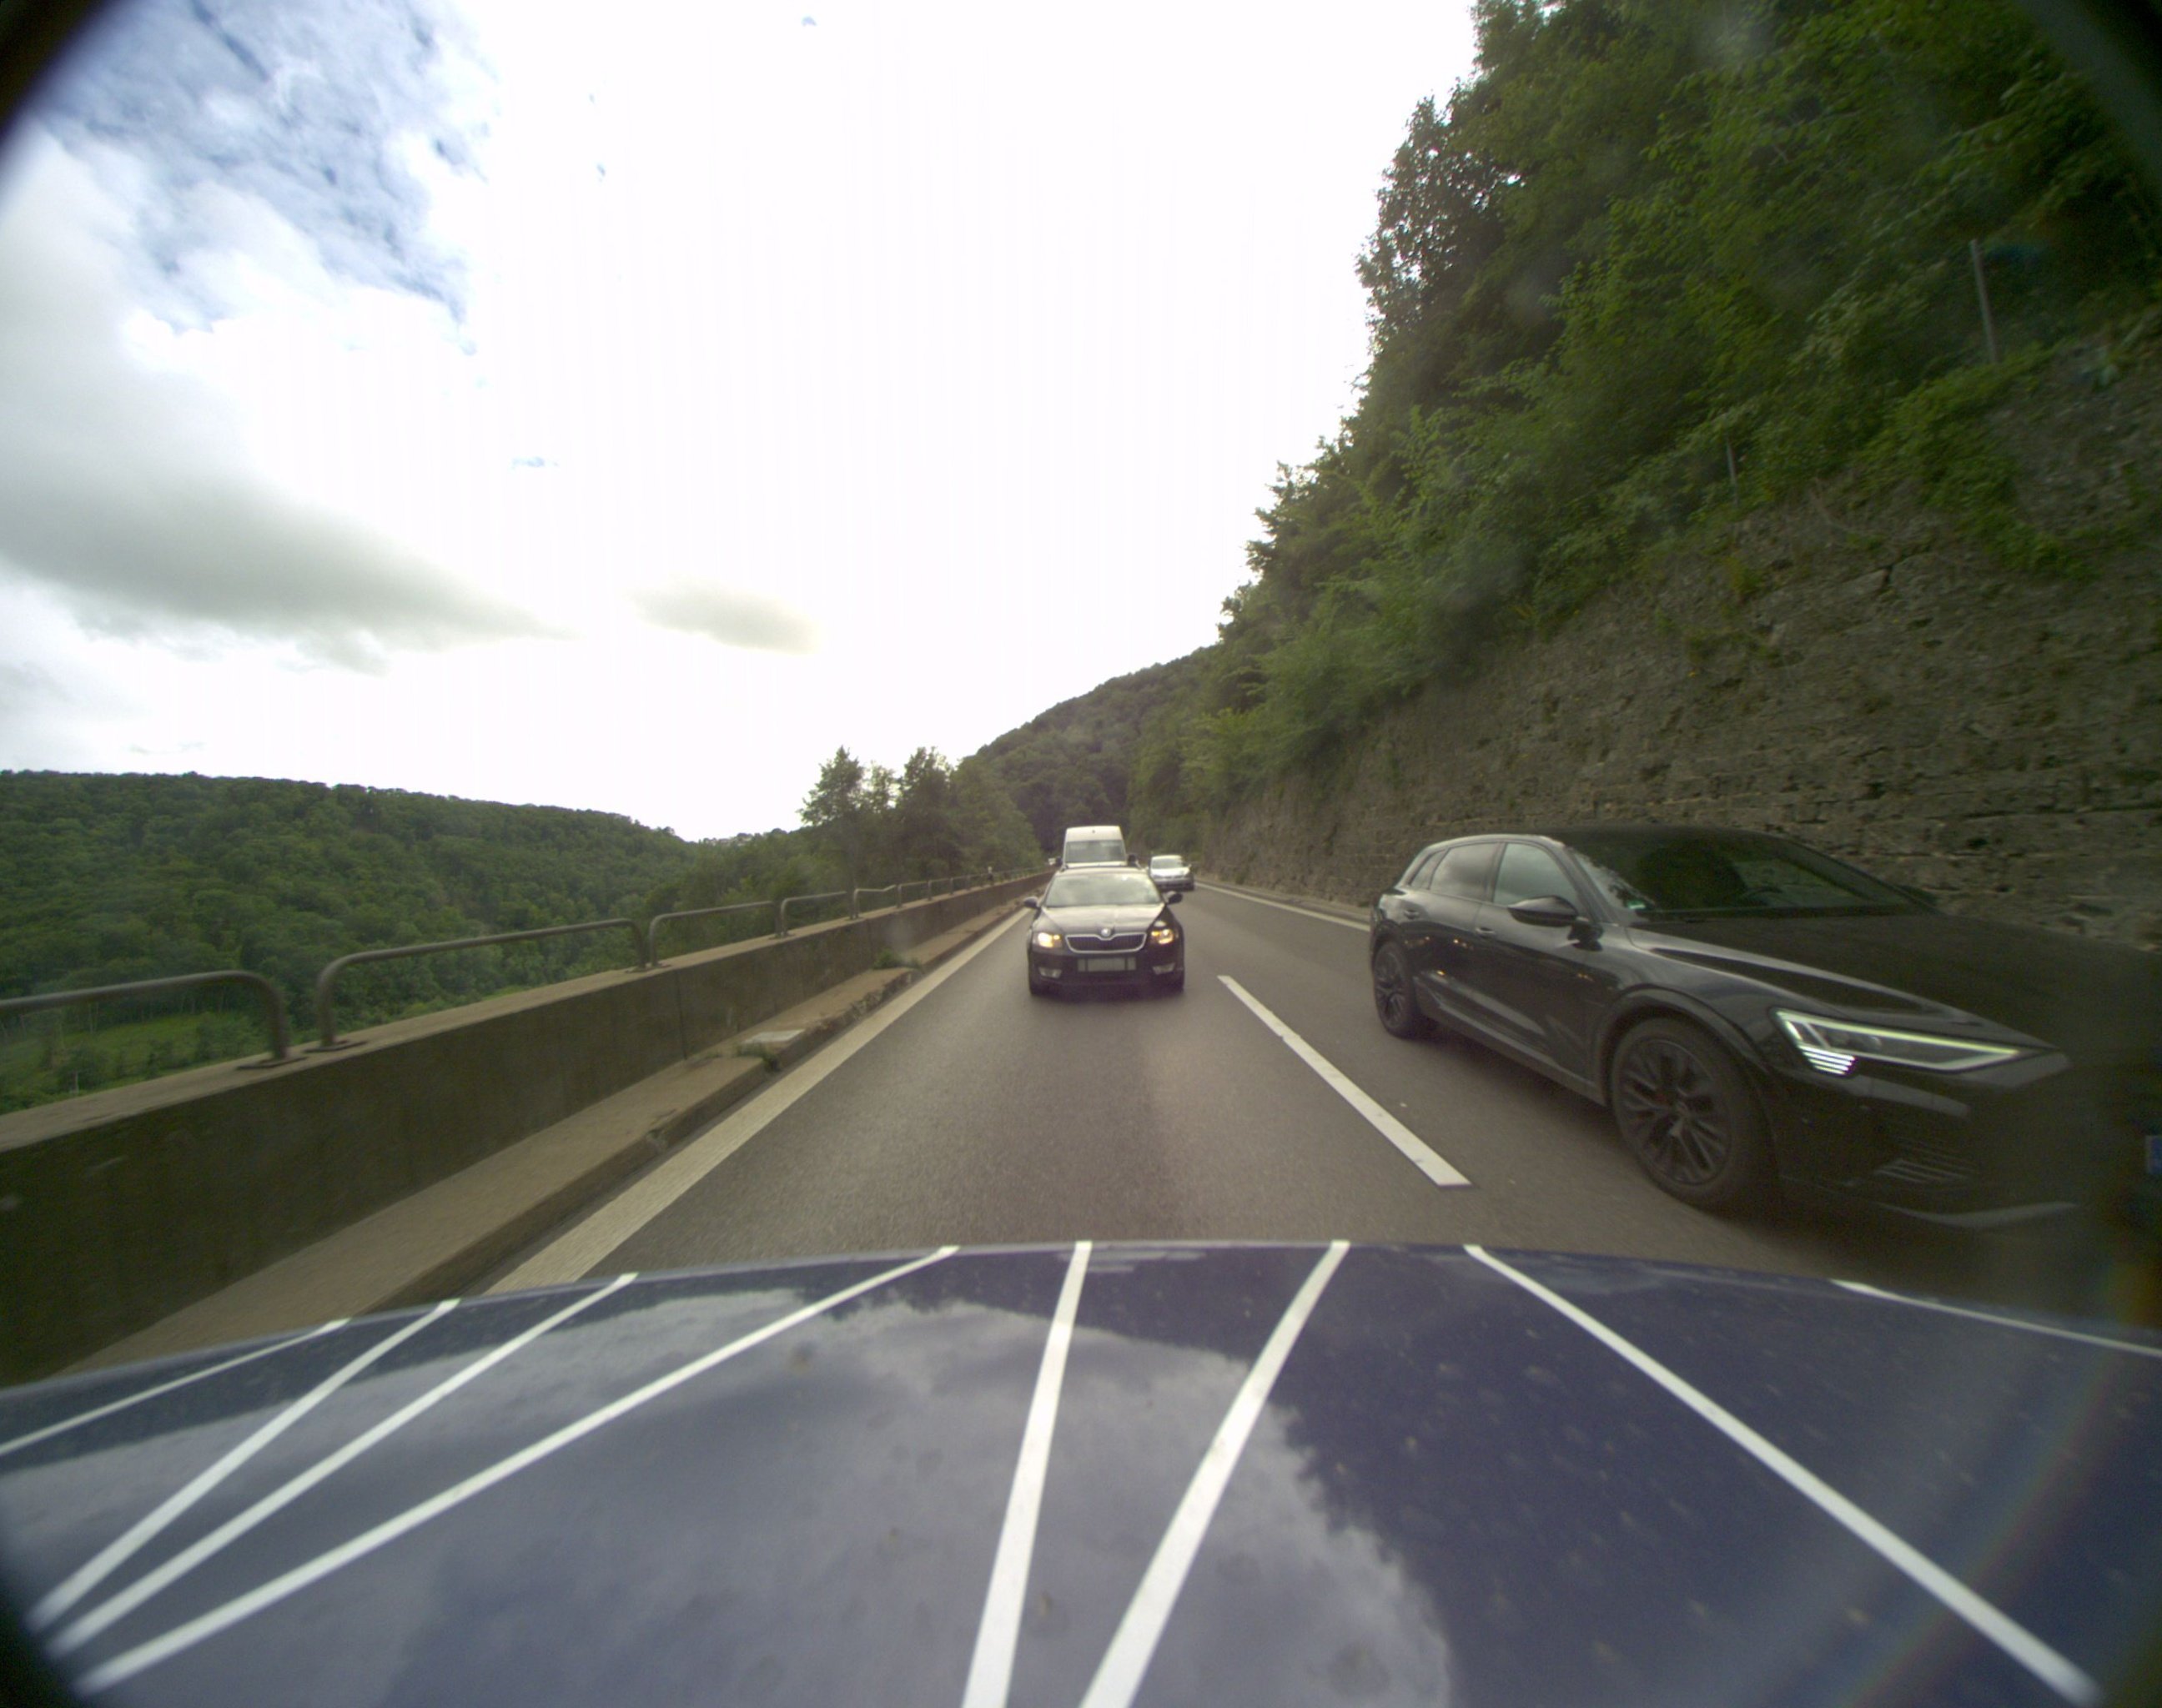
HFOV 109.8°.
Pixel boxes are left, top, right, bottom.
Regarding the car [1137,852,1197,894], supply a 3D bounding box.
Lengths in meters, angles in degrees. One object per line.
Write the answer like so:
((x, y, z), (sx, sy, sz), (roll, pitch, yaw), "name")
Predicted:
((3.503, 0.751, 31.756), (1.686, 1.506, 4.582), (-4, 0, -3), "car")

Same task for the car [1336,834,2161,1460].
((3.331, 0.756, 4.491), (1.998, 1.622, 5.008), (-2, 0, 1), "car")

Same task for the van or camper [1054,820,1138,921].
((0.491, 0.450, 23.079), (2.081, 2.575, 5.912), (-3, 0, 2), "van or camper")

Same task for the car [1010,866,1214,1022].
((0.355, 0.955, 10.210), (1.998, 1.389, 5.008), (-3, 0, 1), "car")

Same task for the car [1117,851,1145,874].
((4.116, 0.674, 63.163), (1.813, 1.646, 4.582), (-8, 0, -1), "car")
